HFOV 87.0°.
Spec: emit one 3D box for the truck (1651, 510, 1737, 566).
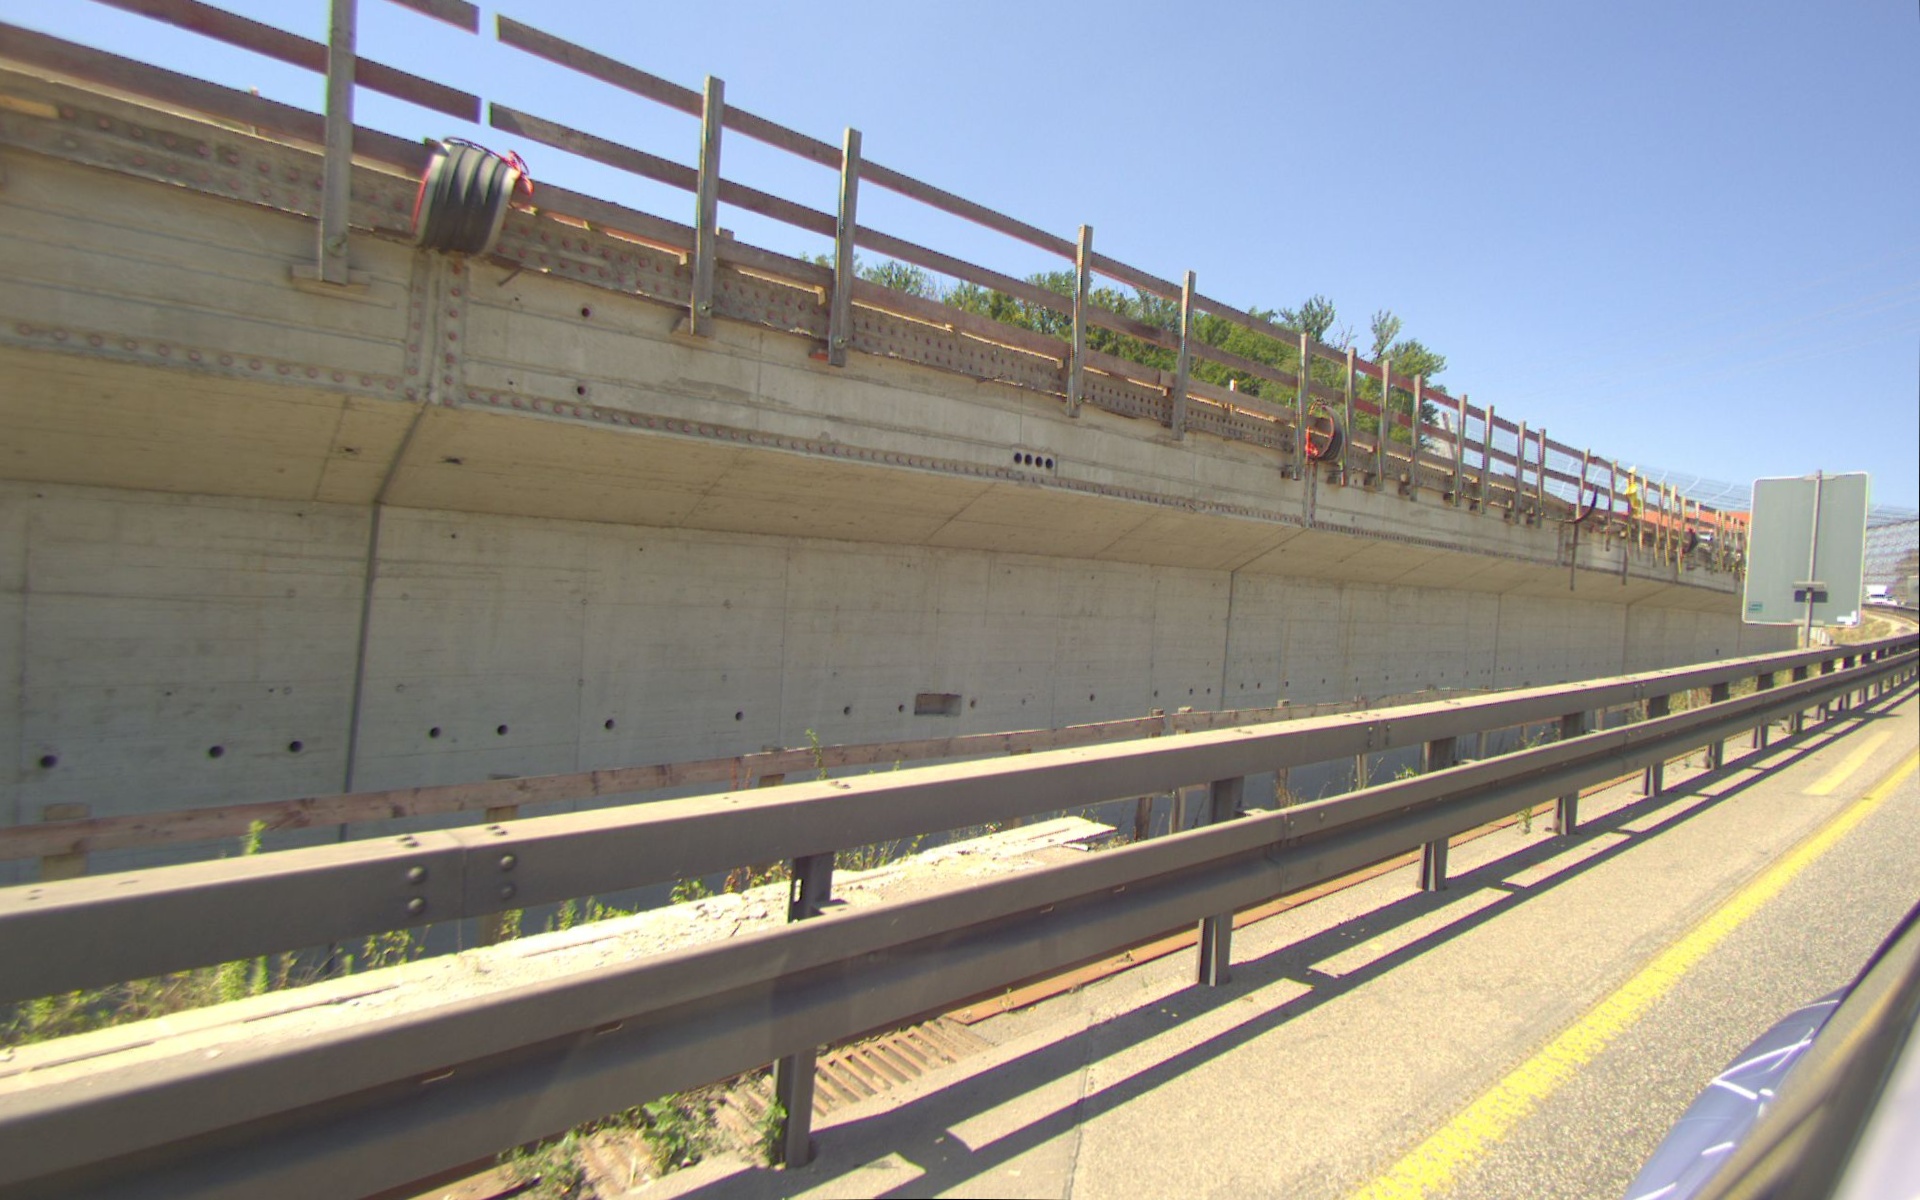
[{"bbox_3d":[55.431,-4.591,76.419,5.591,3.741,2.725,3,0,-23],"label":"truck"}]
